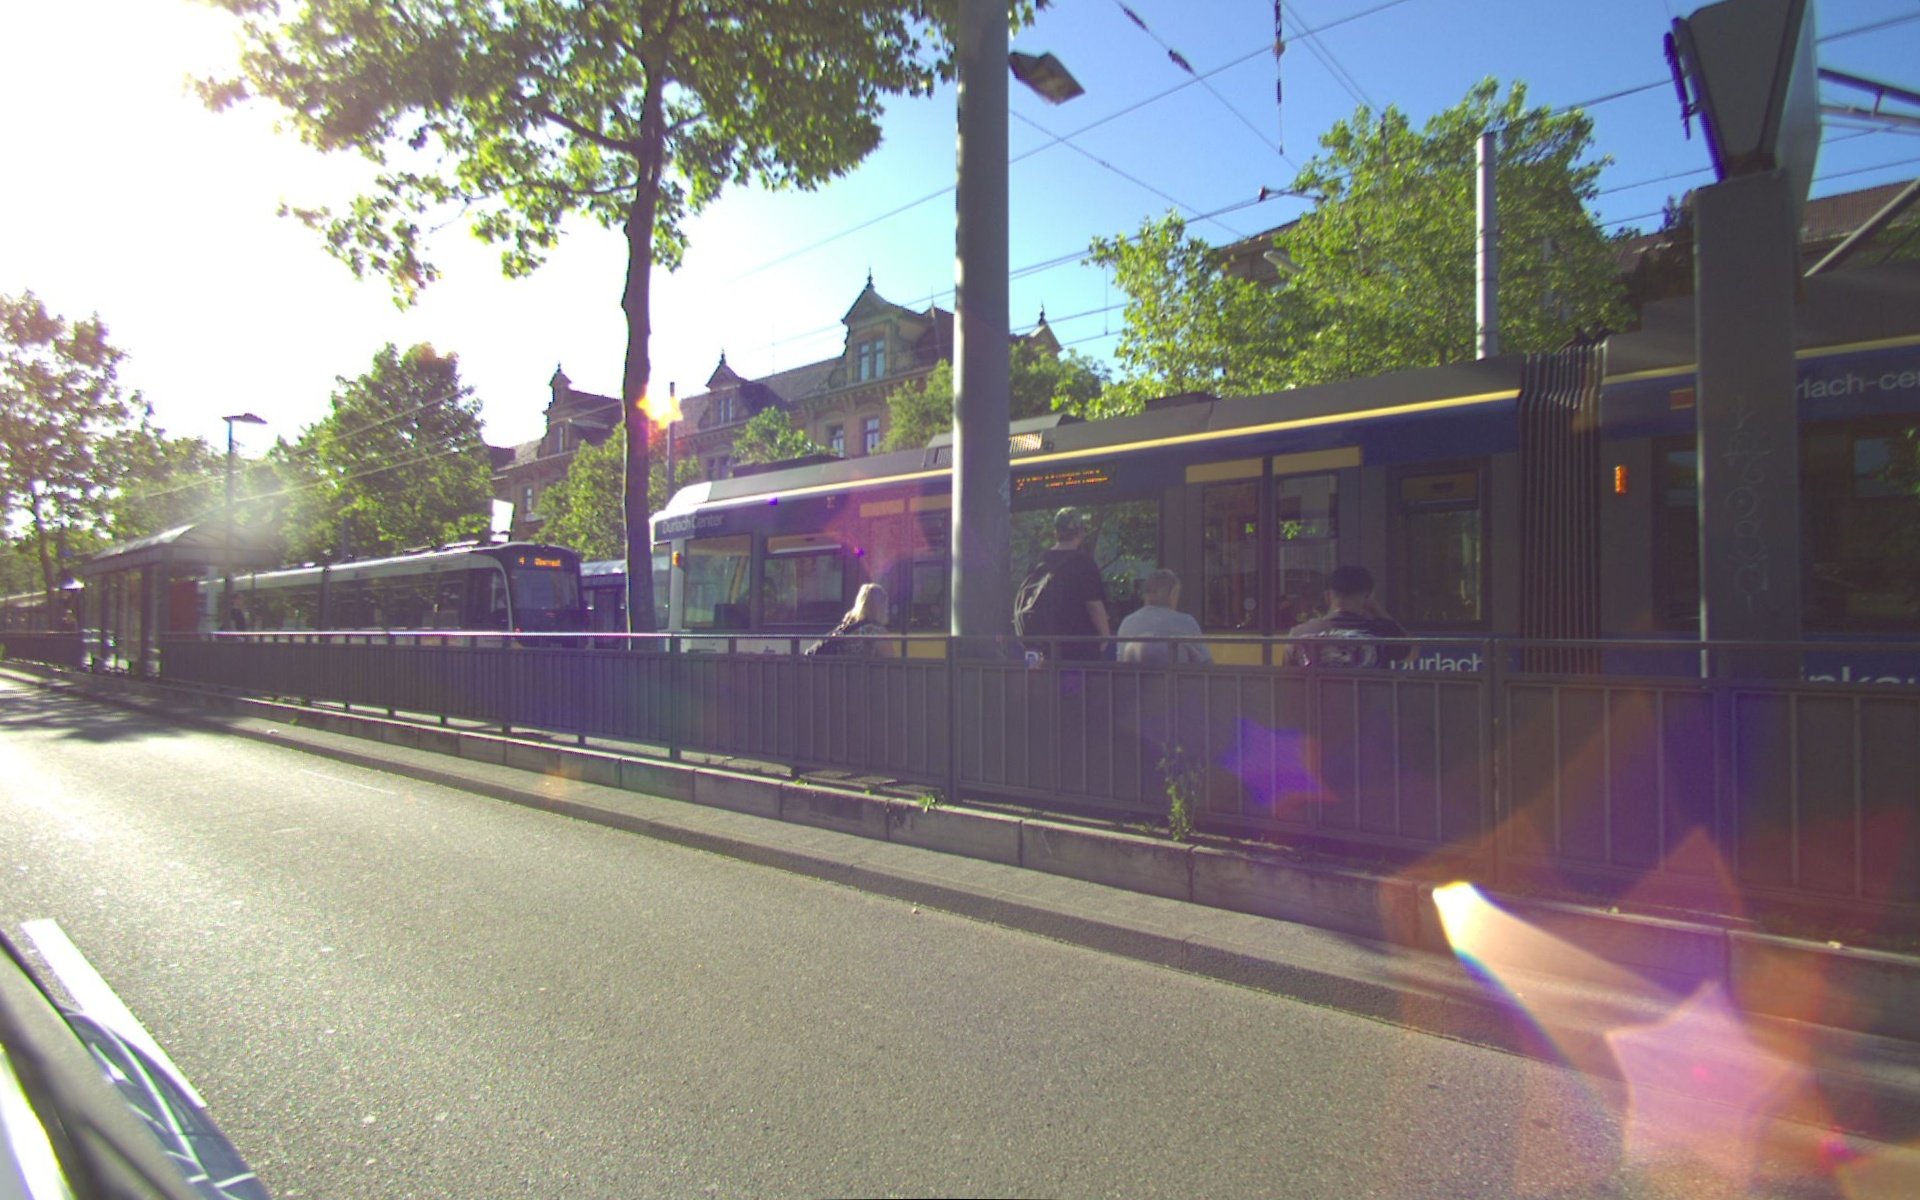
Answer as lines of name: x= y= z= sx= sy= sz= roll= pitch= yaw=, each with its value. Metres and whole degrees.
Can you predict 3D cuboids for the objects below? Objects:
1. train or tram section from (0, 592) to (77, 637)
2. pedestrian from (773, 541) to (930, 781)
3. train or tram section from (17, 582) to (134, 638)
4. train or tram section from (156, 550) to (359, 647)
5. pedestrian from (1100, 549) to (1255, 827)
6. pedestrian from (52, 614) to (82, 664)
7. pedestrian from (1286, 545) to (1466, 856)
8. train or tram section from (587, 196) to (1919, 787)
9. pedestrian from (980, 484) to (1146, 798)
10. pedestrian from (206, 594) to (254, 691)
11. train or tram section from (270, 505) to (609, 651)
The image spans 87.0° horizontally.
train or tram section: x=-57.765 y=1.000 z=62.773 sx=15.065 sy=2.551 sz=2.536 roll=-2 pitch=-2 yaw=41
pedestrian: x=-0.739 y=0.402 z=6.956 sx=0.750 sy=1.521 sz=0.768 roll=-2 pitch=-3 yaw=37
train or tram section: x=-46.223 y=0.656 z=52.608 sx=15.667 sy=2.584 sz=2.536 roll=-2 pitch=-2 yaw=41
train or tram section: x=-30.475 y=0.172 z=43.168 sx=18.267 sy=3.460 sz=2.841 roll=-2 pitch=-1 yaw=41
pedestrian: x=1.109 y=0.425 z=5.168 sx=0.603 sy=1.309 sz=0.529 roll=-2 pitch=-3 yaw=37
pedestrian: x=-31.129 y=1.347 z=35.283 sx=0.623 sy=1.723 sz=0.674 roll=-2 pitch=-2 yaw=40
pedestrian: x=1.851 y=0.418 z=4.504 sx=0.604 sy=1.256 sz=0.528 roll=-2 pitch=-3 yaw=39
train or tram section: x=1.351 y=-0.585 z=11.028 sx=15.885 sy=3.284 sz=2.884 roll=0 pitch=0 yaw=41
pedestrian: x=0.637 y=0.246 z=6.224 sx=0.722 sy=1.766 sz=0.768 roll=-2 pitch=-3 yaw=37
pedestrian: x=-12.653 y=0.725 z=17.542 sx=0.621 sy=1.652 sz=0.560 roll=-2 pitch=-2 yaw=43
train or tram section: x=-16.812 y=-0.296 z=31.066 sx=18.206 sy=3.460 sz=2.819 roll=-2 pitch=-1 yaw=41
